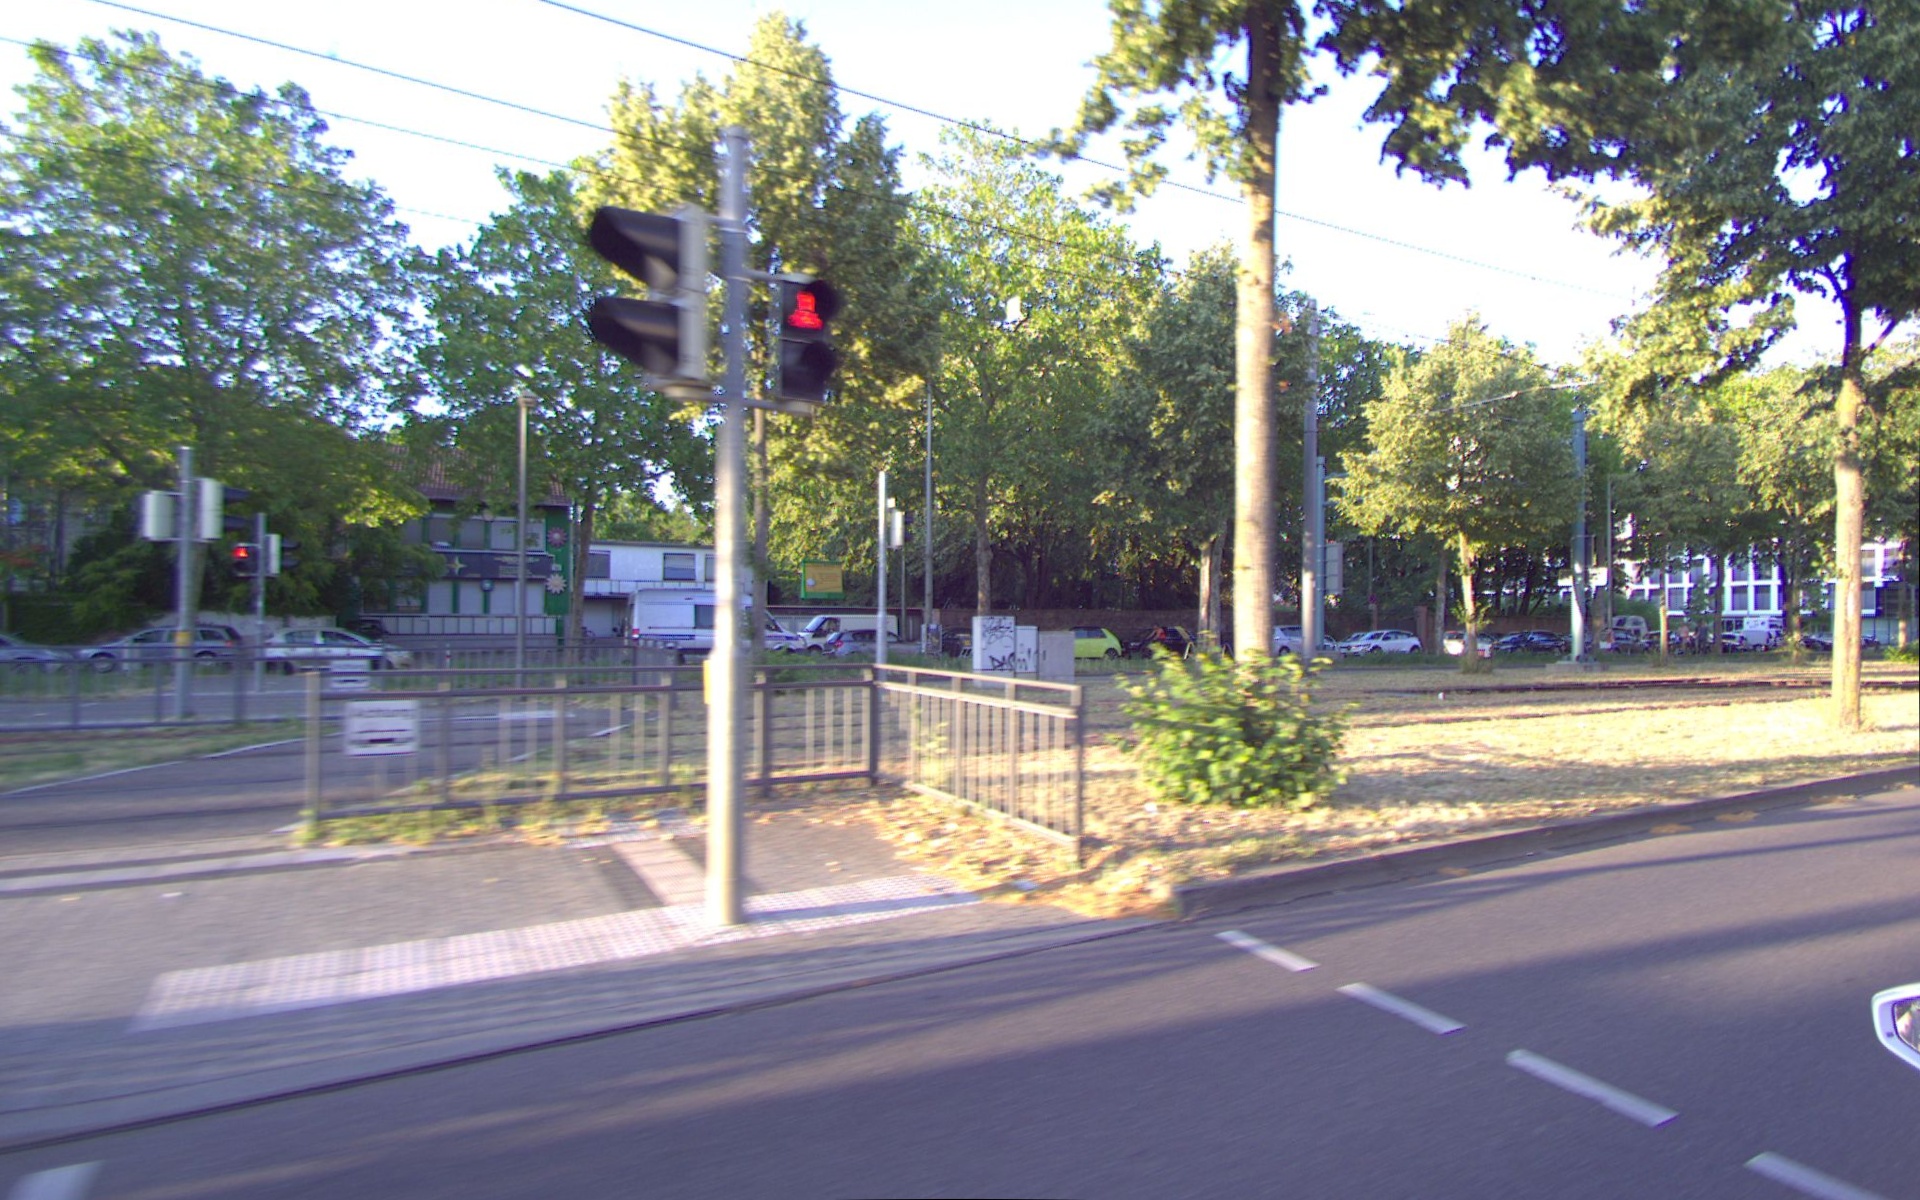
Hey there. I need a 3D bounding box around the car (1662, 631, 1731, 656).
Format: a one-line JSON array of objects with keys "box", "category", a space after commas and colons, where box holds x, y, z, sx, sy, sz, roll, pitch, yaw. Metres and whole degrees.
[{"box": [46.163, 2.710, 62.975, 3.949, 1.505, 1.986, 1, -1, -27], "category": "car"}]

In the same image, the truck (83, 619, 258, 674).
[{"box": [-26.210, 1.511, 33.538, 4.238, 1.712, 1.986, 1, -1, -27], "category": "truck"}]

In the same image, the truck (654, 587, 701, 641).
[{"box": [-19.505, 0.990, 69.177, 2.259, 3.566, 6.655, 1, -1, -23], "category": "truck"}]

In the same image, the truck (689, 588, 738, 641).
[{"box": [-17.294, 1.041, 70.202, 2.259, 3.566, 6.655, 1, -1, -23], "category": "truck"}]

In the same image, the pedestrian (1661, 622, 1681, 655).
[{"box": [38.848, 2.110, 54.888, 0.858, 1.782, 0.688, 2, -2, -38], "category": "pedestrian"}]

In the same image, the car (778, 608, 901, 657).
[{"box": [-5.242, 1.422, 43.927, 4.993, 2.040, 1.986, 1, -1, -27], "category": "car"}]

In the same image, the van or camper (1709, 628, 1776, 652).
[{"box": [63.041, 3.219, 80.935, 1.984, 1.815, 3.954, 1, -2, -40], "category": "van or camper"}]

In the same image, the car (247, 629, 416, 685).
[{"box": [-18.286, 1.649, 29.487, 4.048, 1.520, 1.985, 2, -1, -29], "category": "car"}]

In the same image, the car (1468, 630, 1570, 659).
[{"box": [27.950, 2.218, 50.187, 5.075, 1.332, 1.987, 1, -2, -27], "category": "car"}]

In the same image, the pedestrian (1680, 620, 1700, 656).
[{"box": [39.633, 2.056, 54.542, 0.858, 1.895, 0.688, 2, -1, -38], "category": "pedestrian"}]

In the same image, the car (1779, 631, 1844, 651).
[{"box": [74.478, 3.539, 87.905, 1.901, 1.661, 3.964, 1, -1, -33], "category": "car"}]

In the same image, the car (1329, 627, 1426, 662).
[{"box": [19.093, 2.039, 45.907, 4.255, 1.519, 1.891, 2, -2, -30], "category": "car"}]

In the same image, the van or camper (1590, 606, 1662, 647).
[{"box": [45.786, 1.840, 69.059, 5.434, 2.771, 2.074, 2, -2, -32], "category": "van or camper"}]

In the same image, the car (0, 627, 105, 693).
[{"box": [-23.644, 1.430, 24.432, 4.004, 1.552, 1.802, 1, -1, -29], "category": "car"}]

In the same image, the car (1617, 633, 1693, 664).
[{"box": [41.635, 2.909, 60.131, 4.736, 1.773, 1.984, 2, -2, -31], "category": "car"}]

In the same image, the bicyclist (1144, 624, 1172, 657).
[{"box": [9.541, 1.947, 48.384, 1.070, 1.553, 0.726, 1, -1, -25], "category": "bicyclist"}]

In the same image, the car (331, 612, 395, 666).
[{"box": [-23.931, 1.525, 40.384, 1.975, 2.040, 3.972, 1, -1, -27], "category": "car"}]

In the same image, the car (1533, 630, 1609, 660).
[{"box": [33.723, 2.461, 55.415, 3.785, 1.581, 1.798, 1, -2, -25], "category": "car"}]

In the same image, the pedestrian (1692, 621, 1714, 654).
[{"box": [39.685, 1.992, 53.634, 0.857, 1.766, 0.689, 1, -1, -32], "category": "pedestrian"}]

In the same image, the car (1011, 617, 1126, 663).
[{"box": [4.137, 1.489, 38.113, 3.952, 1.661, 1.984, 1, -1, -30], "category": "car"}]

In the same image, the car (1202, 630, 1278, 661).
[{"box": [15.088, 2.413, 54.037, 3.789, 1.617, 1.759, 1, -1, -27], "category": "car"}]

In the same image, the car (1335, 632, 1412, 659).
[{"box": [23.973, 2.604, 58.222, 3.943, 1.505, 1.989, 1, -1, -23], "category": "car"}]

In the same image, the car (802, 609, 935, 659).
[{"box": [-3.151, 1.177, 34.807, 4.162, 1.658, 1.983, 1, -2, -32], "category": "car"}]

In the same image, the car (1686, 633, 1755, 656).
[{"box": [60.383, 3.505, 79.800, 1.901, 1.661, 3.964, 1, -1, -33], "category": "car"}]

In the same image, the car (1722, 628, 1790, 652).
[{"box": [65.673, 3.284, 82.955, 1.988, 1.869, 3.970, 1, -1, -29], "category": "car"}]

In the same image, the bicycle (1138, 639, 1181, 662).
[{"box": [9.633, 2.435, 48.409, 1.989, 1.105, 0.729, 1, -1, -25], "category": "bicycle"}]

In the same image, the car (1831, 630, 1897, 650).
[{"box": [78.195, 3.438, 86.931, 1.901, 1.661, 3.964, 1, -1, -33], "category": "car"}]

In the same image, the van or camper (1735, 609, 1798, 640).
[{"box": [81.533, 2.477, 101.525, 6.180, 3.126, 2.701, 1, -1, -27], "category": "van or camper"}]

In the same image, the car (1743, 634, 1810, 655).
[{"box": [68.207, 3.696, 83.960, 1.895, 1.661, 3.978, 1, -1, -23], "category": "car"}]

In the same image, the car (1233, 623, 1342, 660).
[{"box": [14.130, 1.797, 43.291, 4.502, 1.518, 1.985, 2, -2, -30], "category": "car"}]

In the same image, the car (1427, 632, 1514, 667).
[{"box": [26.690, 2.562, 52.488, 4.104, 1.773, 1.988, 1, -2, -25], "category": "car"}]

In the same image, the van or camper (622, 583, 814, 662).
[{"box": [-7.830, 0.742, 32.603, 5.705, 2.396, 2.277, 1, -1, -26], "category": "van or camper"}]
